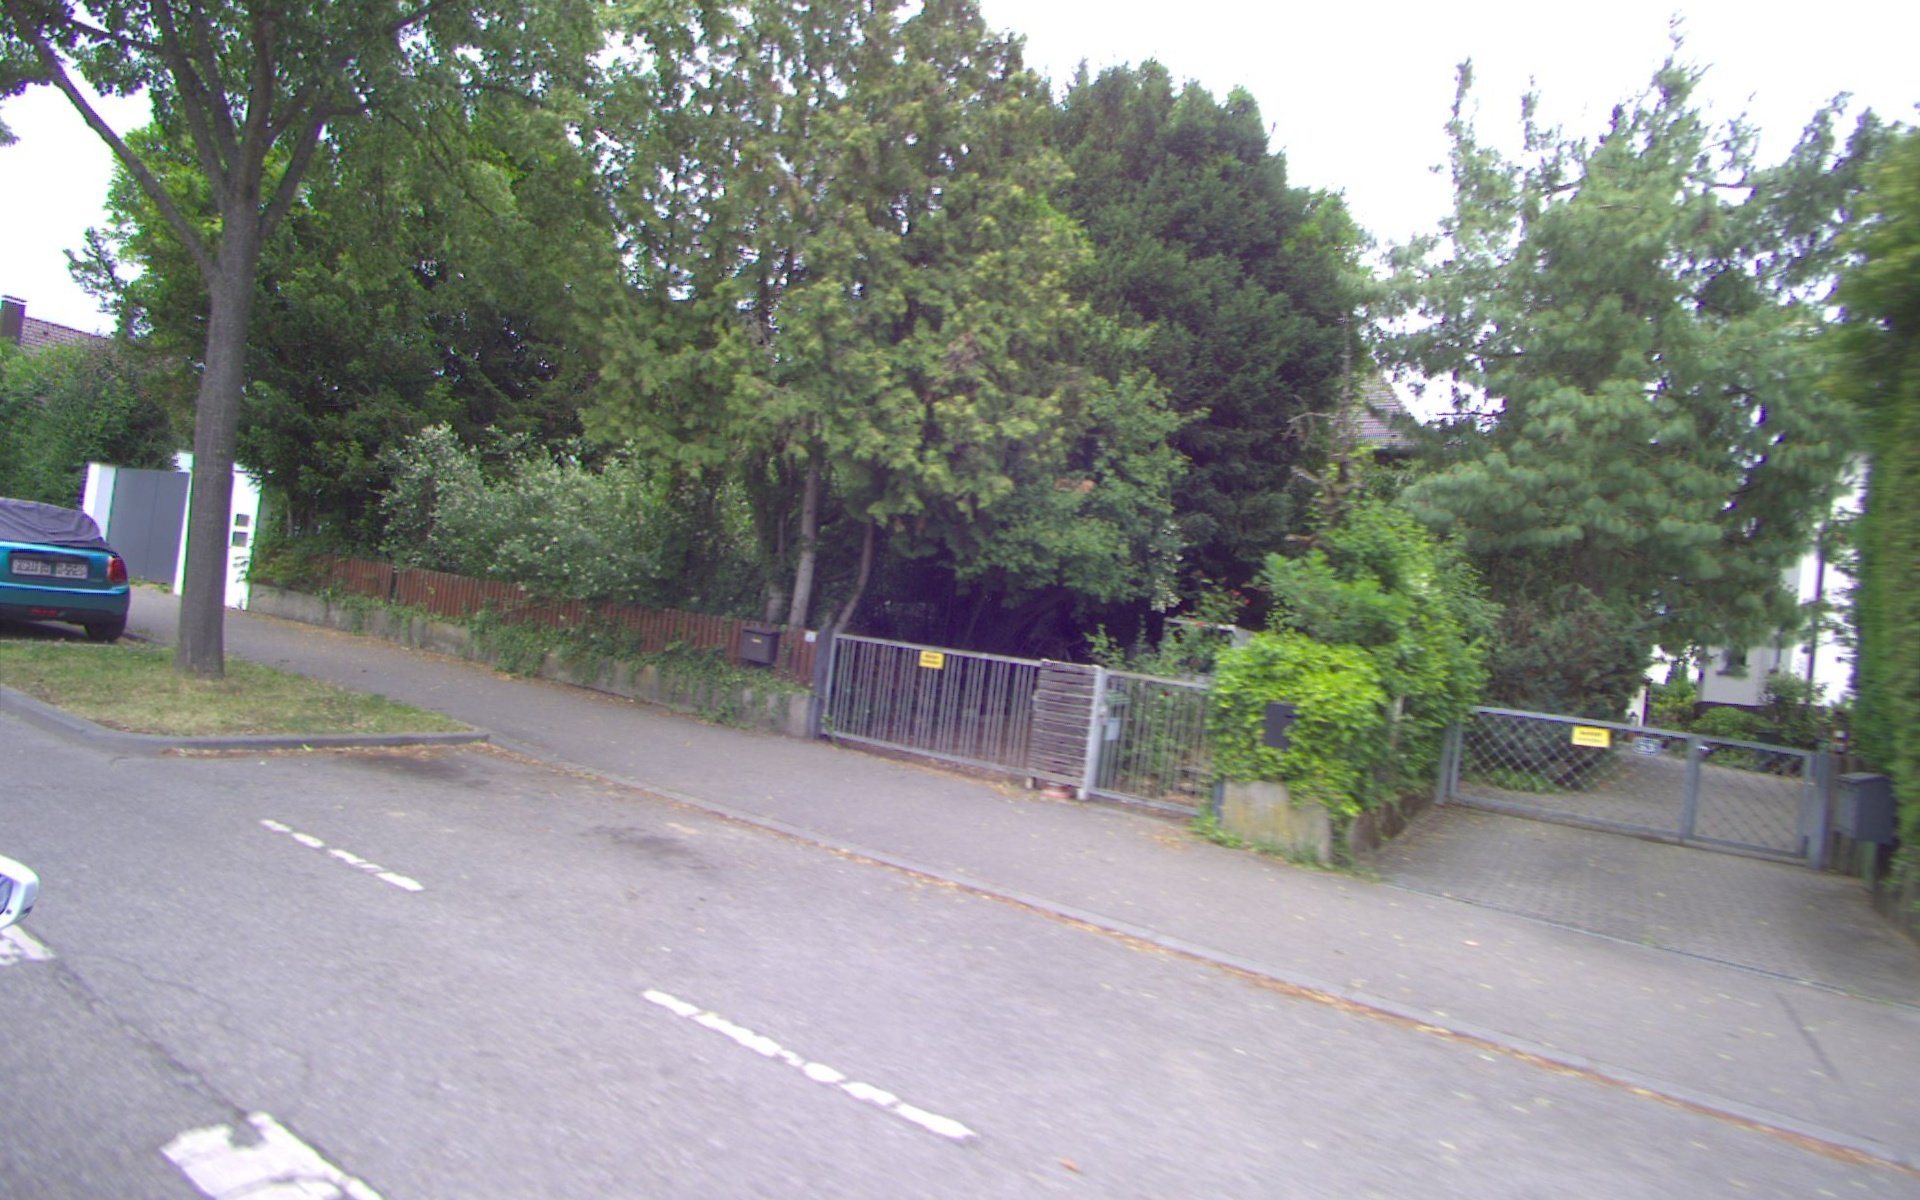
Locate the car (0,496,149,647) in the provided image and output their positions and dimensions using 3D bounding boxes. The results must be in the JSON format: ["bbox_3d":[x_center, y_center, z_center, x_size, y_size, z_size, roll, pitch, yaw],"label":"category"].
[{"bbox_3d":[-11.170,-0.484,11.297,3.974,1.449,1.687,7,-1,28],"label":"car"}]
